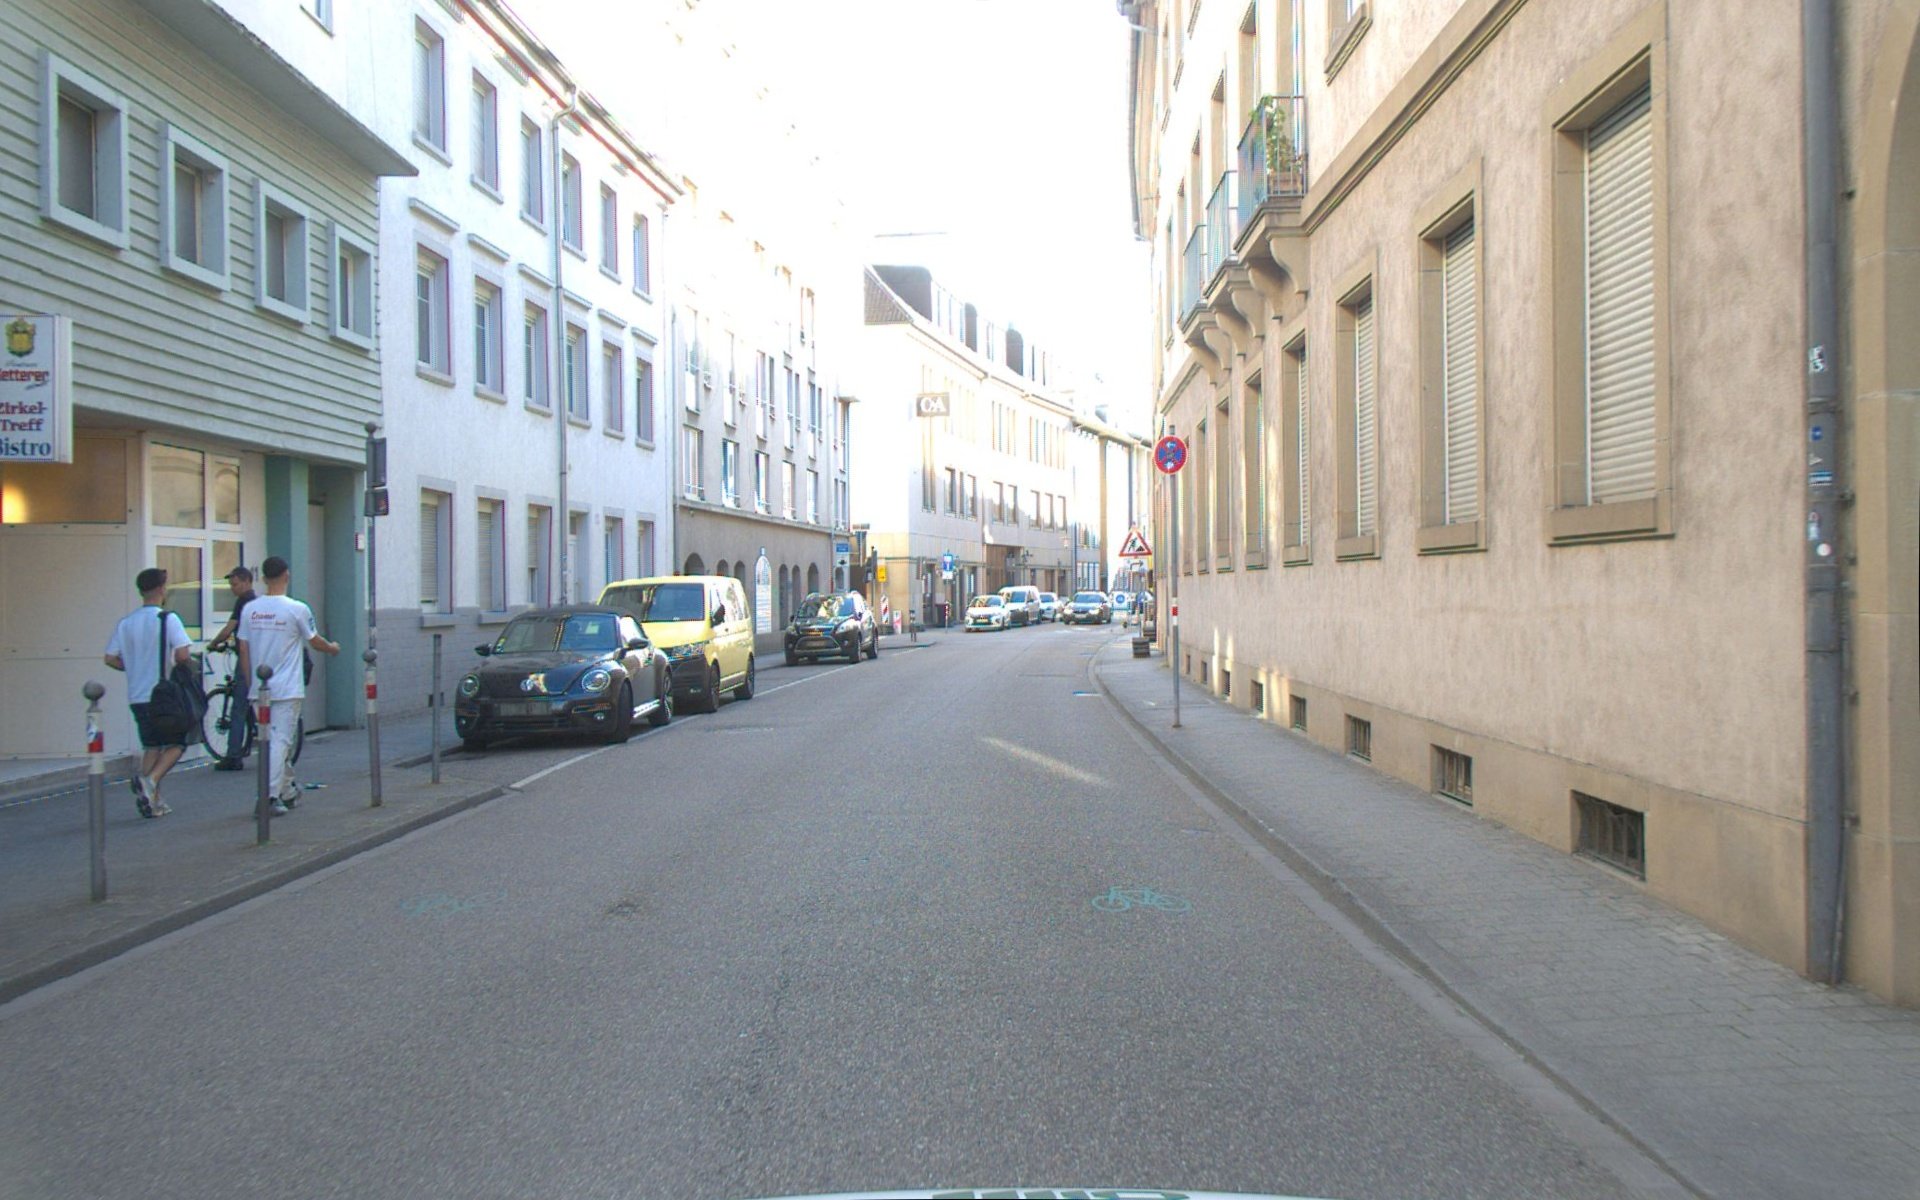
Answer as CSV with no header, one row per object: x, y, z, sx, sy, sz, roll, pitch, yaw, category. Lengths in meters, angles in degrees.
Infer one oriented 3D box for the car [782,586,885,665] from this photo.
-3.058,0.590,40.871,1.703,1.740,4.194,-3,0,6,car

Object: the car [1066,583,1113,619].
5.999,0.056,76.901,1.680,1.605,4.188,-1,0,-3,car

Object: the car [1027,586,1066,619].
4.360,0.110,83.035,1.244,1.533,3.404,-2,0,14,car

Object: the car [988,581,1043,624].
2.629,0.098,77.020,1.635,1.850,4.556,-2,0,13,car

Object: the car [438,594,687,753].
-4.412,0.746,19.009,1.782,1.512,4.077,-3,0,0,car

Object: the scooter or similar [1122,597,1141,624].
7.441,0.463,71.722,0.754,1.156,0.269,2,0,10,scooter or similar

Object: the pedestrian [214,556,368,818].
-4.723,0.592,11.724,0.683,1.764,0.829,-2,0,1,pedestrian

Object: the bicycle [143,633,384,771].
-6.442,0.915,15.294,2.085,1.183,0.823,-1,0,23,bicycle

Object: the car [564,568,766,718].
-4.212,0.557,24.459,1.841,1.899,4.865,-3,0,2,car

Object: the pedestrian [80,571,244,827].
-5.565,0.664,11.585,0.659,1.699,0.894,-2,0,1,pedestrian

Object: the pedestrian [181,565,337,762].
-6.476,0.568,15.306,1.056,1.759,0.802,-1,0,23,pedestrian

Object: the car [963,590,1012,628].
1.211,0.356,71.288,1.635,1.533,3.797,-2,0,8,car

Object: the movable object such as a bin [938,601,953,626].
-0.633,0.578,72.696,0.596,1.079,0.713,2,0,5,movable object such as a bin
